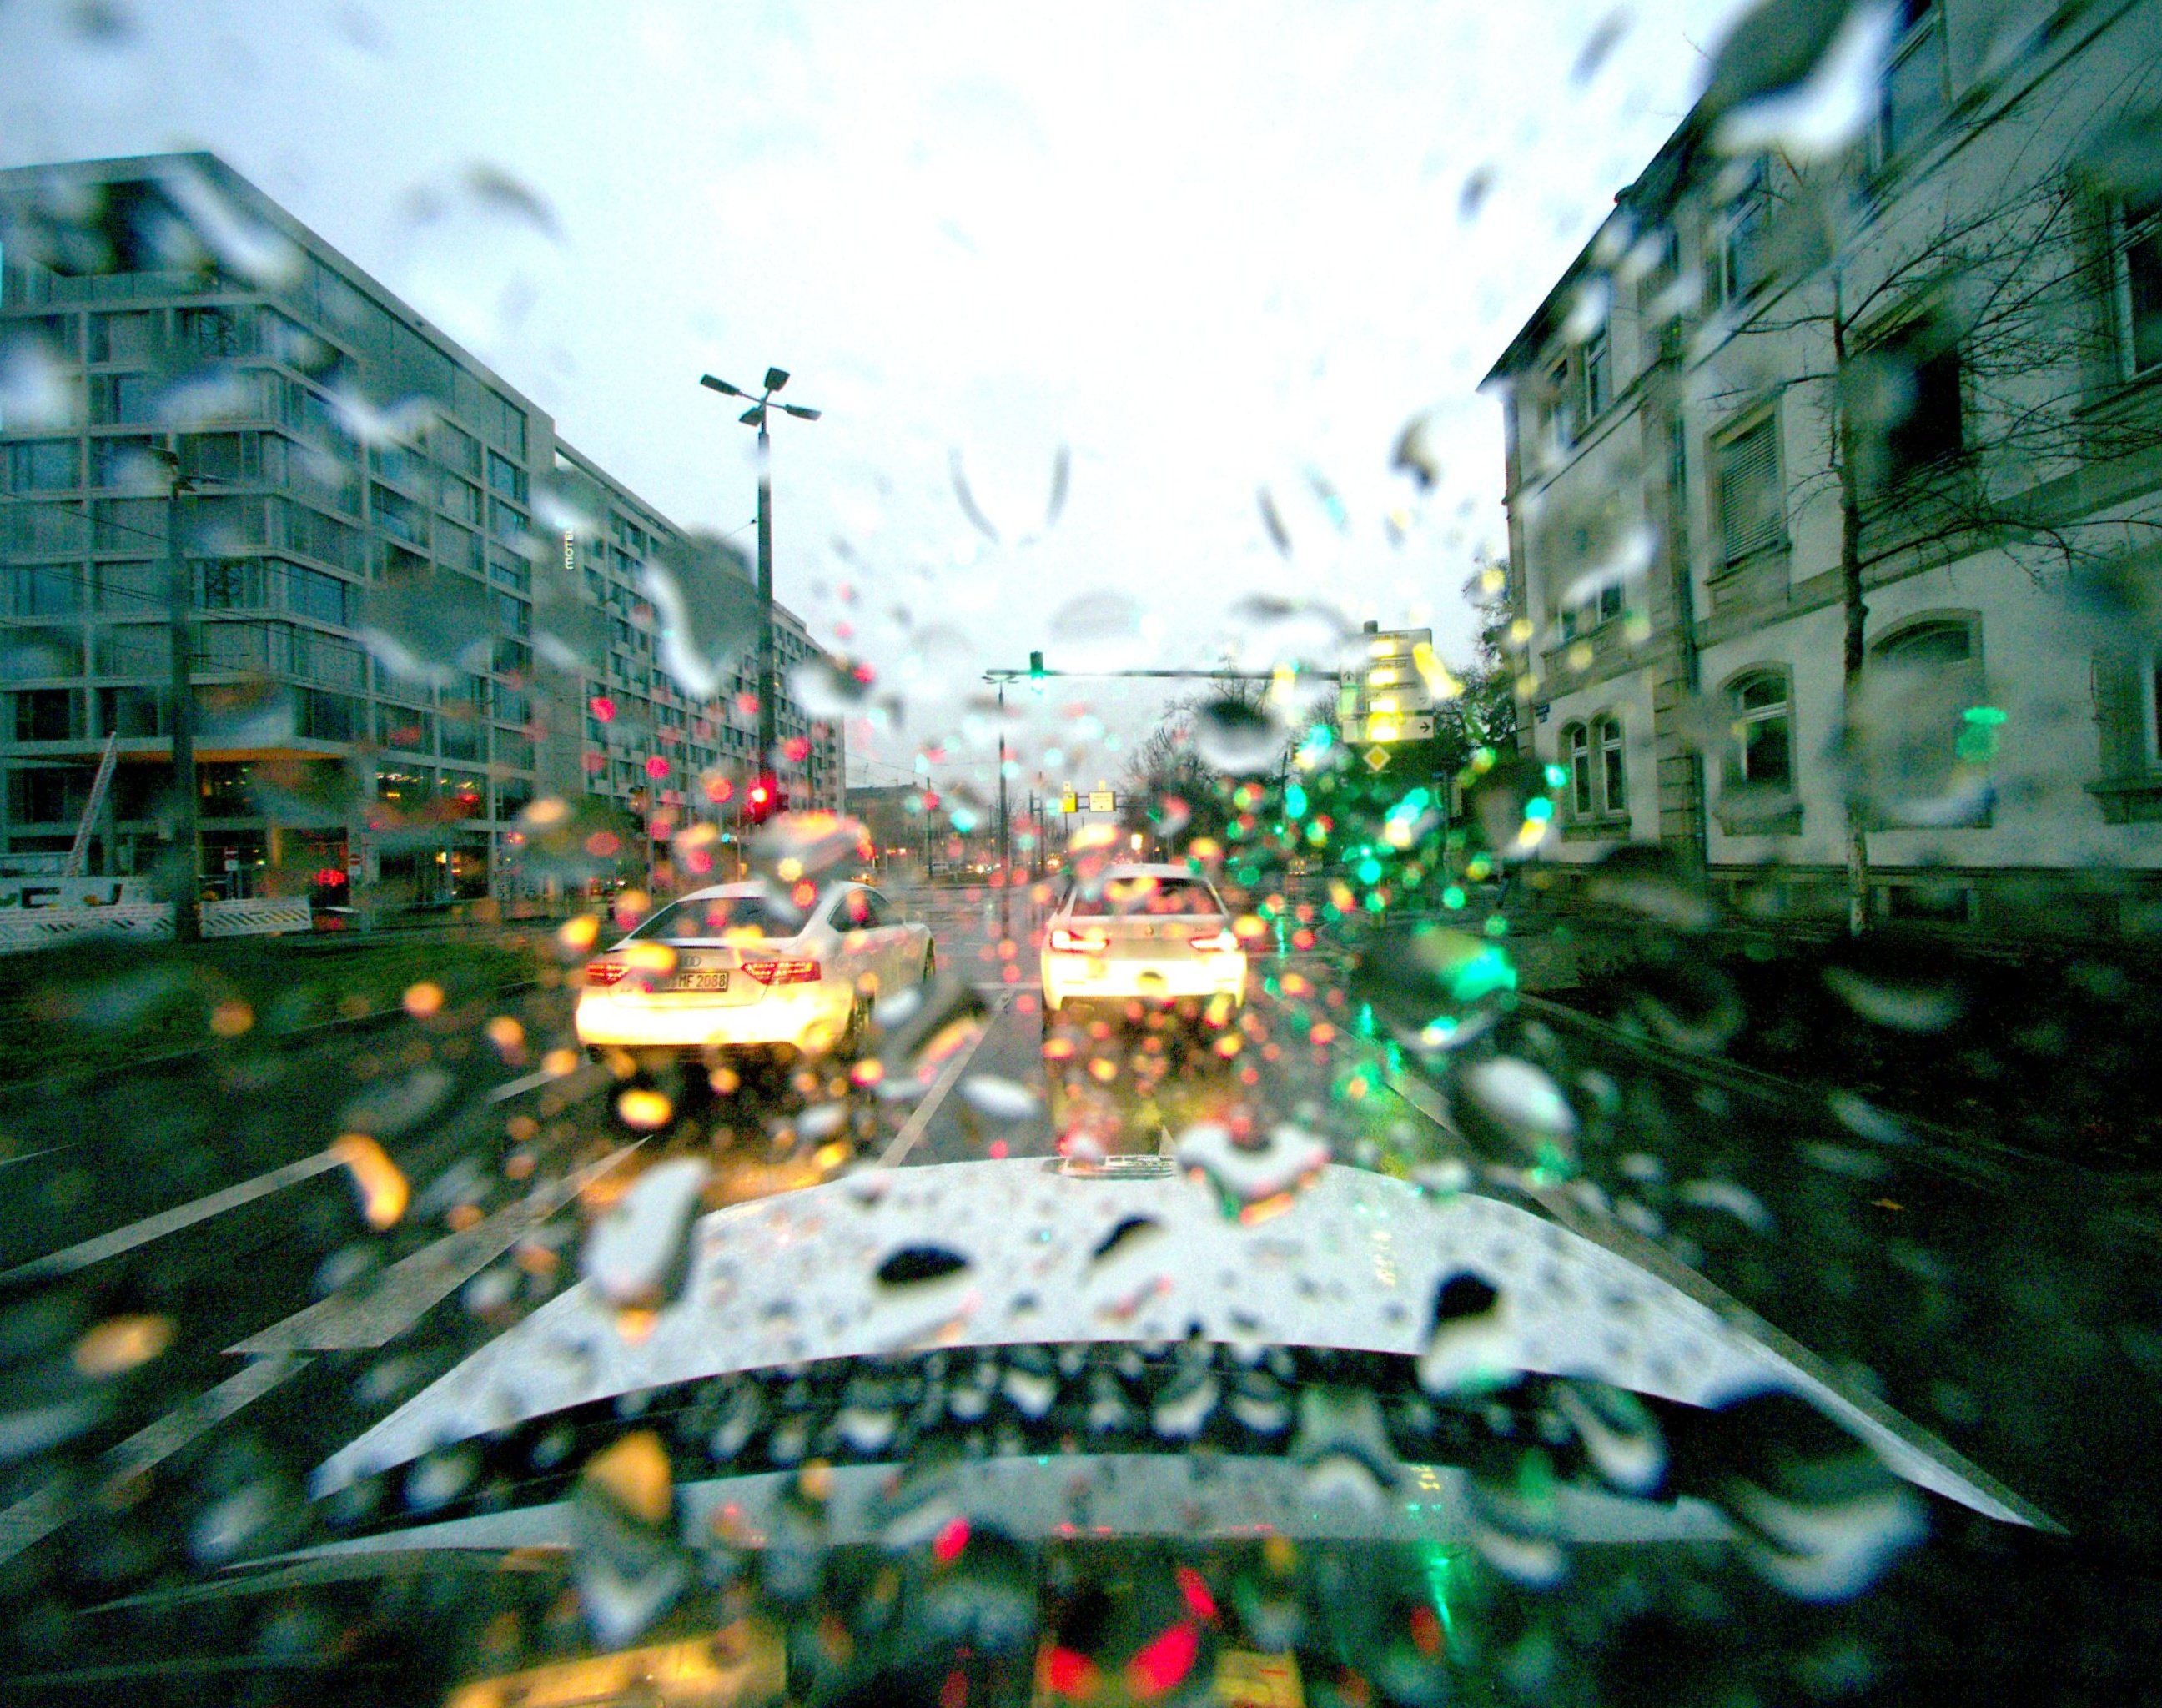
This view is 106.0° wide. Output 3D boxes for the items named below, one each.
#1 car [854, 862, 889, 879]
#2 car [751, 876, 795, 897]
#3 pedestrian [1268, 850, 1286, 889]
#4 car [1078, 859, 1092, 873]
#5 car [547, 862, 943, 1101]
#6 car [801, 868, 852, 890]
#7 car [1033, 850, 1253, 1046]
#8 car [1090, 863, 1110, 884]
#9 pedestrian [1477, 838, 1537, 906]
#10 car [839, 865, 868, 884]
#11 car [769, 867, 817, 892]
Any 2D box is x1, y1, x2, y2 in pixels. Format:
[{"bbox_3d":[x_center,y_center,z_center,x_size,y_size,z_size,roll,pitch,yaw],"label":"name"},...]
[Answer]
[{"bbox_3d":[-19.198,1.460,74.816,1.988,1.462,5.090,0,-1,-2],"label":"car"},{"bbox_3d":[-24.869,2.587,65.872,1.873,1.574,4.004,0,-1,3],"label":"car"},{"bbox_3d":[9.597,0.758,39.906,0.670,1.879,0.715,0,-1,1],"label":"pedestrian"},{"bbox_3d":[0.676,1.872,127.321,1.986,2.014,4.001,0,-1,2],"label":"car"},{"bbox_3d":[-2.462,0.816,7.232,1.754,1.470,4.250,0,-1,0],"label":"car"},{"bbox_3d":[-18.643,1.818,59.986,1.986,1.462,5.097,0,-1,2],"label":"car"},{"bbox_3d":[0.491,0.766,8.632,1.754,1.552,4.250,0,-1,0],"label":"car"},{"bbox_3d":[1.925,1.938,82.608,1.986,2.014,4.001,0,-1,2],"label":"car"},{"bbox_3d":[10.133,0.413,19.384,1.010,1.579,0.780,0,-1,-16],"label":"pedestrian"},{"bbox_3d":[-18.695,1.659,67.144,1.995,1.462,5.073,0,-1,-12],"label":"car"},{"bbox_3d":[-21.752,1.896,61.700,1.874,1.789,4.600,0,-1,2],"label":"car"}]
